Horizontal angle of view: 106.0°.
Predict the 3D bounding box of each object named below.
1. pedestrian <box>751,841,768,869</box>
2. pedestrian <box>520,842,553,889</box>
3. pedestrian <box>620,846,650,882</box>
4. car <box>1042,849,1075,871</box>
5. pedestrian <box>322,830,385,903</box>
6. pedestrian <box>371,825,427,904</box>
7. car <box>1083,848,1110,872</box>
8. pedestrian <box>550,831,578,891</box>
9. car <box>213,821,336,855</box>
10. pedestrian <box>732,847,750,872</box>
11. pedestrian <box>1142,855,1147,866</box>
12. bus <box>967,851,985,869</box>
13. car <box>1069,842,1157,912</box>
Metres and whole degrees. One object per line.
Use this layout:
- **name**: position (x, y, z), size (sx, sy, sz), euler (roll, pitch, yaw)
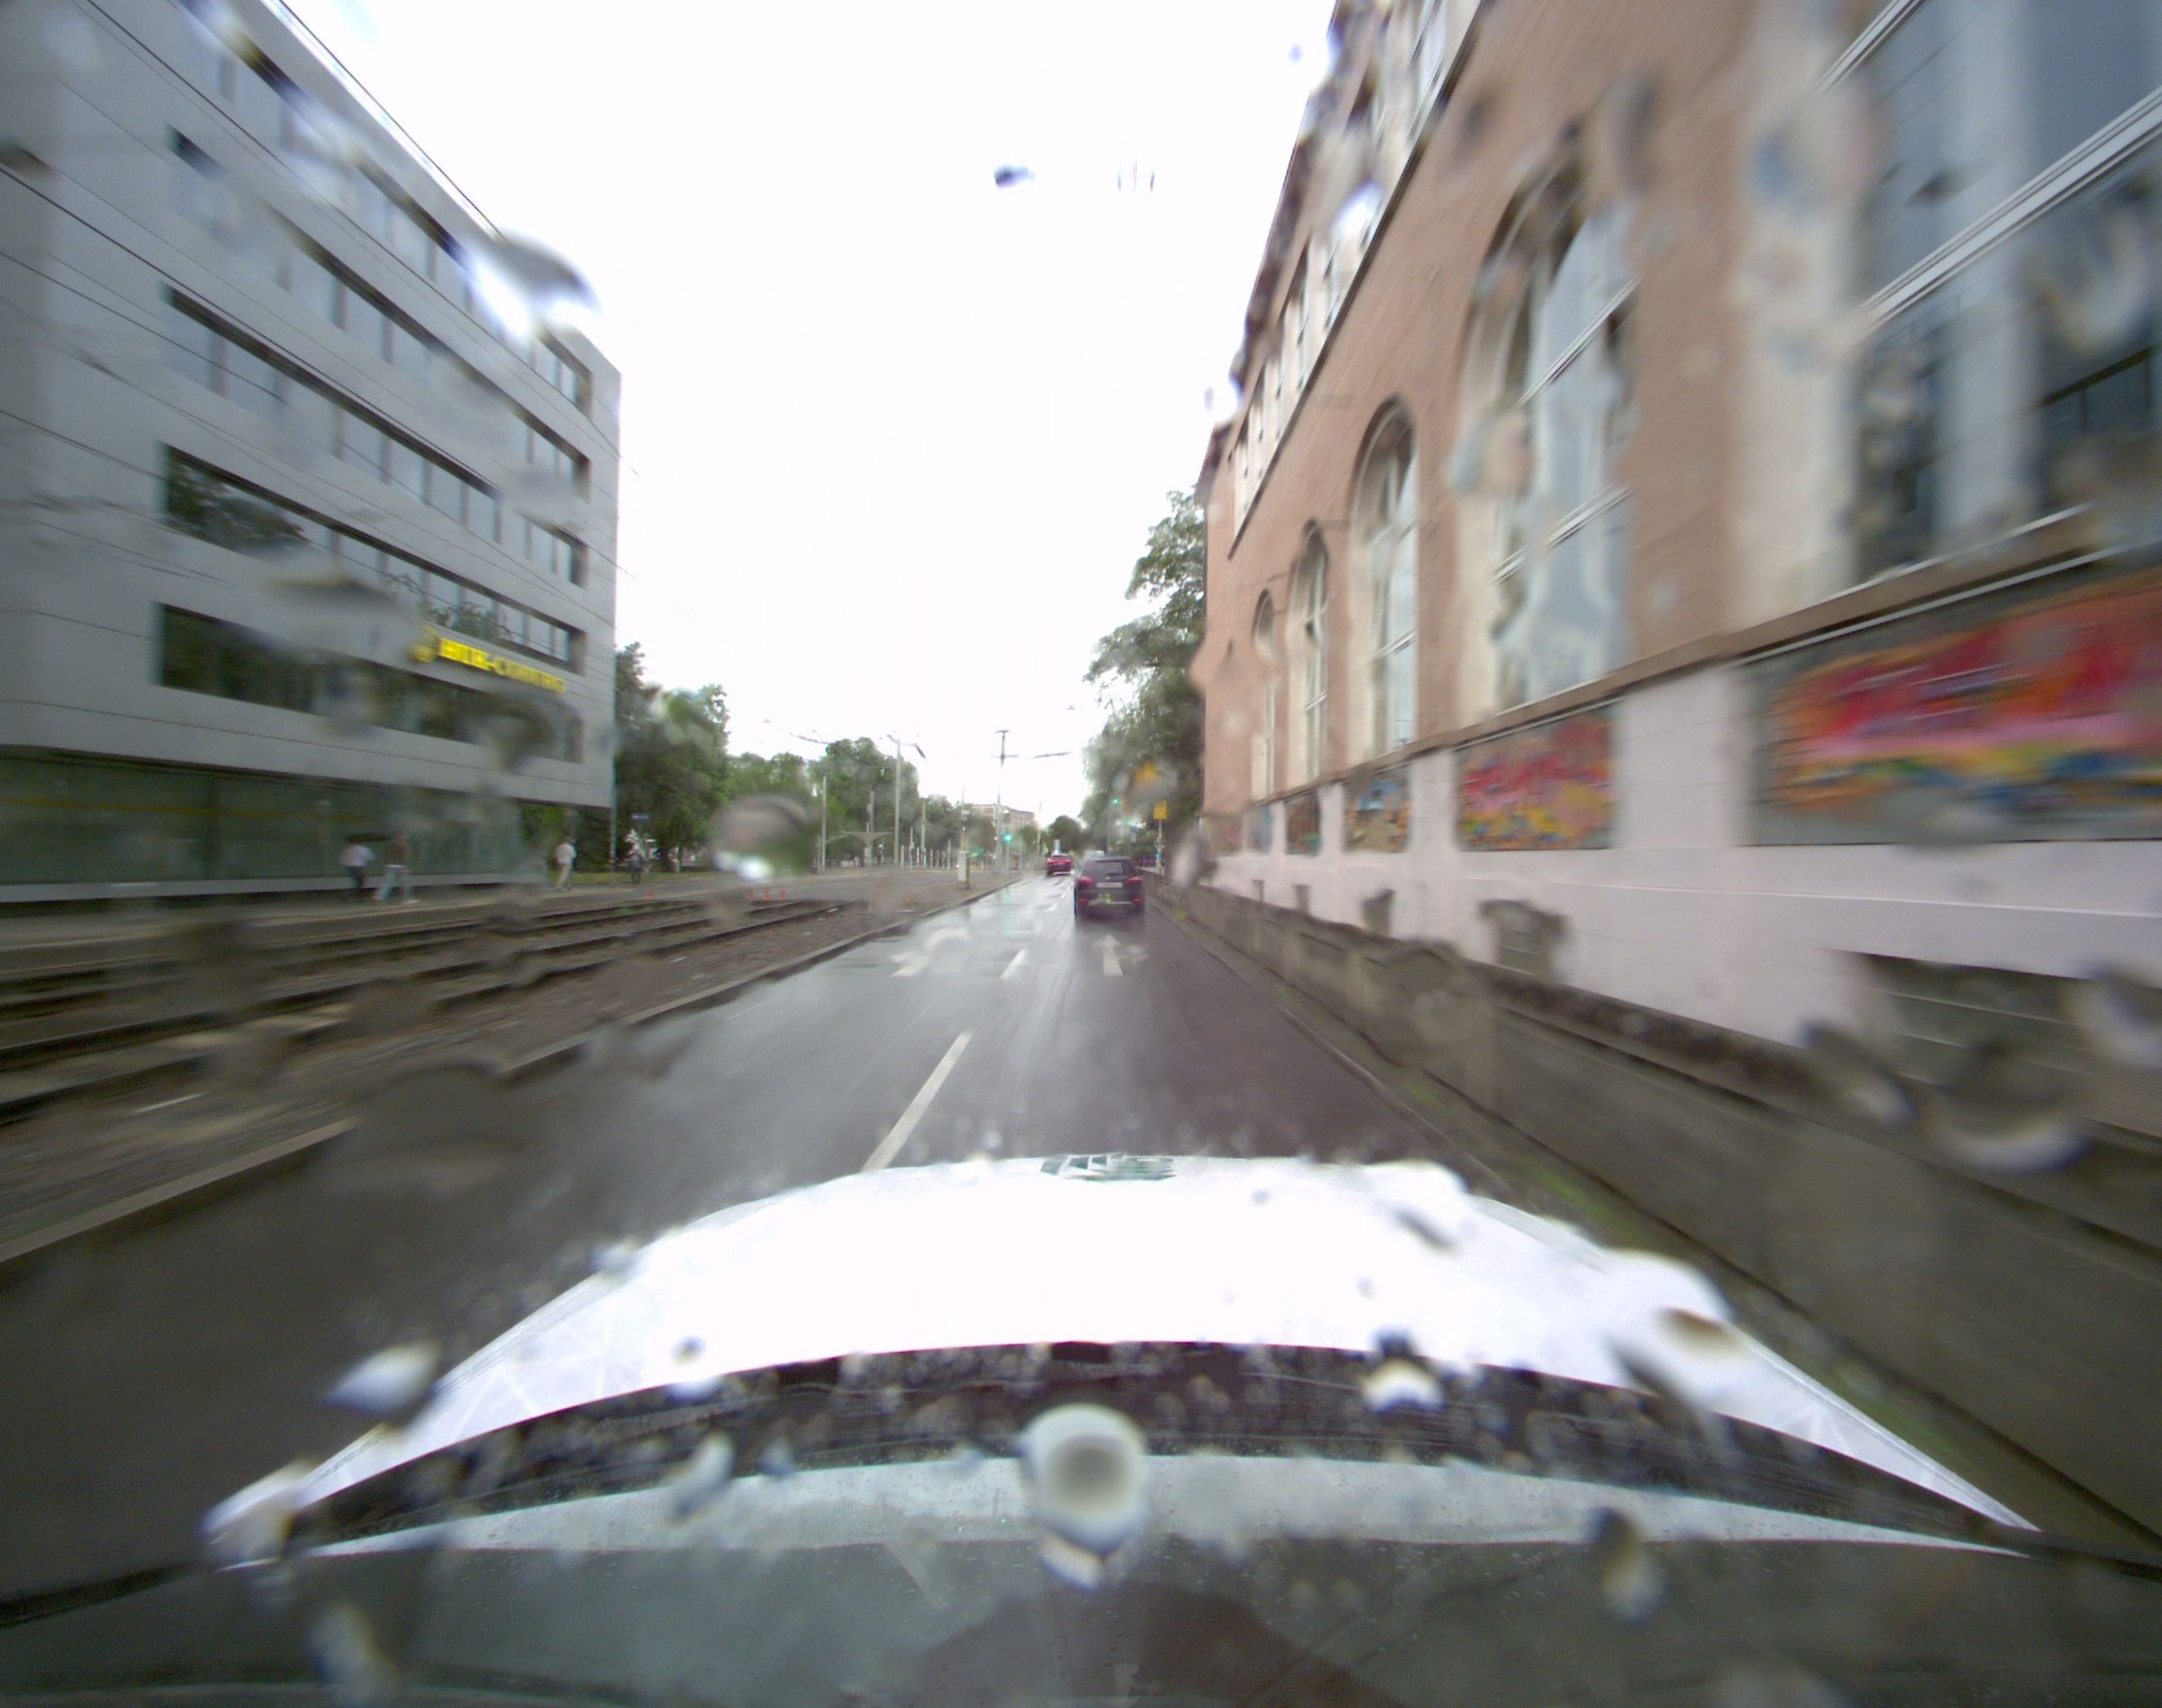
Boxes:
- **pedestrian**: position (-22.106, 0.067, 55.981), size (0.914, 1.863, 0.995), euler (3, -1, -25)
- **pedestrian**: position (-18.657, 0.394, 27.919), size (0.582, 1.594, 0.638), euler (2, -1, 17)
- **pedestrian**: position (-20.046, 0.455, 36.615), size (0.966, 1.594, 0.585), euler (3, -1, -17)
- **car**: position (-1.629, 0.446, 60.559), size (2.091, 1.506, 4.733), euler (0, -1, 2)
- **pedestrian**: position (-18.863, 0.314, 21.133), size (0.658, 1.815, 0.973), euler (3, -1, 1)
- **pedestrian**: position (-17.873, 0.269, 21.351), size (0.658, 2.014, 0.811), euler (3, -1, 1)
- **car**: position (1.260, 0.437, 65.723), size (2.028, 1.840, 4.395), euler (1, 0, 2)
- **pedestrian**: position (-17.836, 0.239, 28.098), size (0.666, 2.014, 0.610), euler (3, -1, -38)
- **car**: position (-36.114, -0.695, 36.577), size (3.546, 1.448, 1.688), euler (0, 0, -26)
- **pedestrian**: position (-22.087, 0.360, 52.888), size (1.005, 1.594, 0.906), euler (3, -1, -26)
- **pedestrian**: position (8.794, 0.858, 112.762), size (0.537, 1.563, 0.524), euler (-1, -1, 21)
- **bus**: position (-19.944, 1.216, 155.195), size (3.073, 3.301, 12.496), euler (0, -1, -6)
- **car**: position (0.782, 0.544, 21.189), size (2.029, 1.584, 4.392), euler (1, 0, 1)
